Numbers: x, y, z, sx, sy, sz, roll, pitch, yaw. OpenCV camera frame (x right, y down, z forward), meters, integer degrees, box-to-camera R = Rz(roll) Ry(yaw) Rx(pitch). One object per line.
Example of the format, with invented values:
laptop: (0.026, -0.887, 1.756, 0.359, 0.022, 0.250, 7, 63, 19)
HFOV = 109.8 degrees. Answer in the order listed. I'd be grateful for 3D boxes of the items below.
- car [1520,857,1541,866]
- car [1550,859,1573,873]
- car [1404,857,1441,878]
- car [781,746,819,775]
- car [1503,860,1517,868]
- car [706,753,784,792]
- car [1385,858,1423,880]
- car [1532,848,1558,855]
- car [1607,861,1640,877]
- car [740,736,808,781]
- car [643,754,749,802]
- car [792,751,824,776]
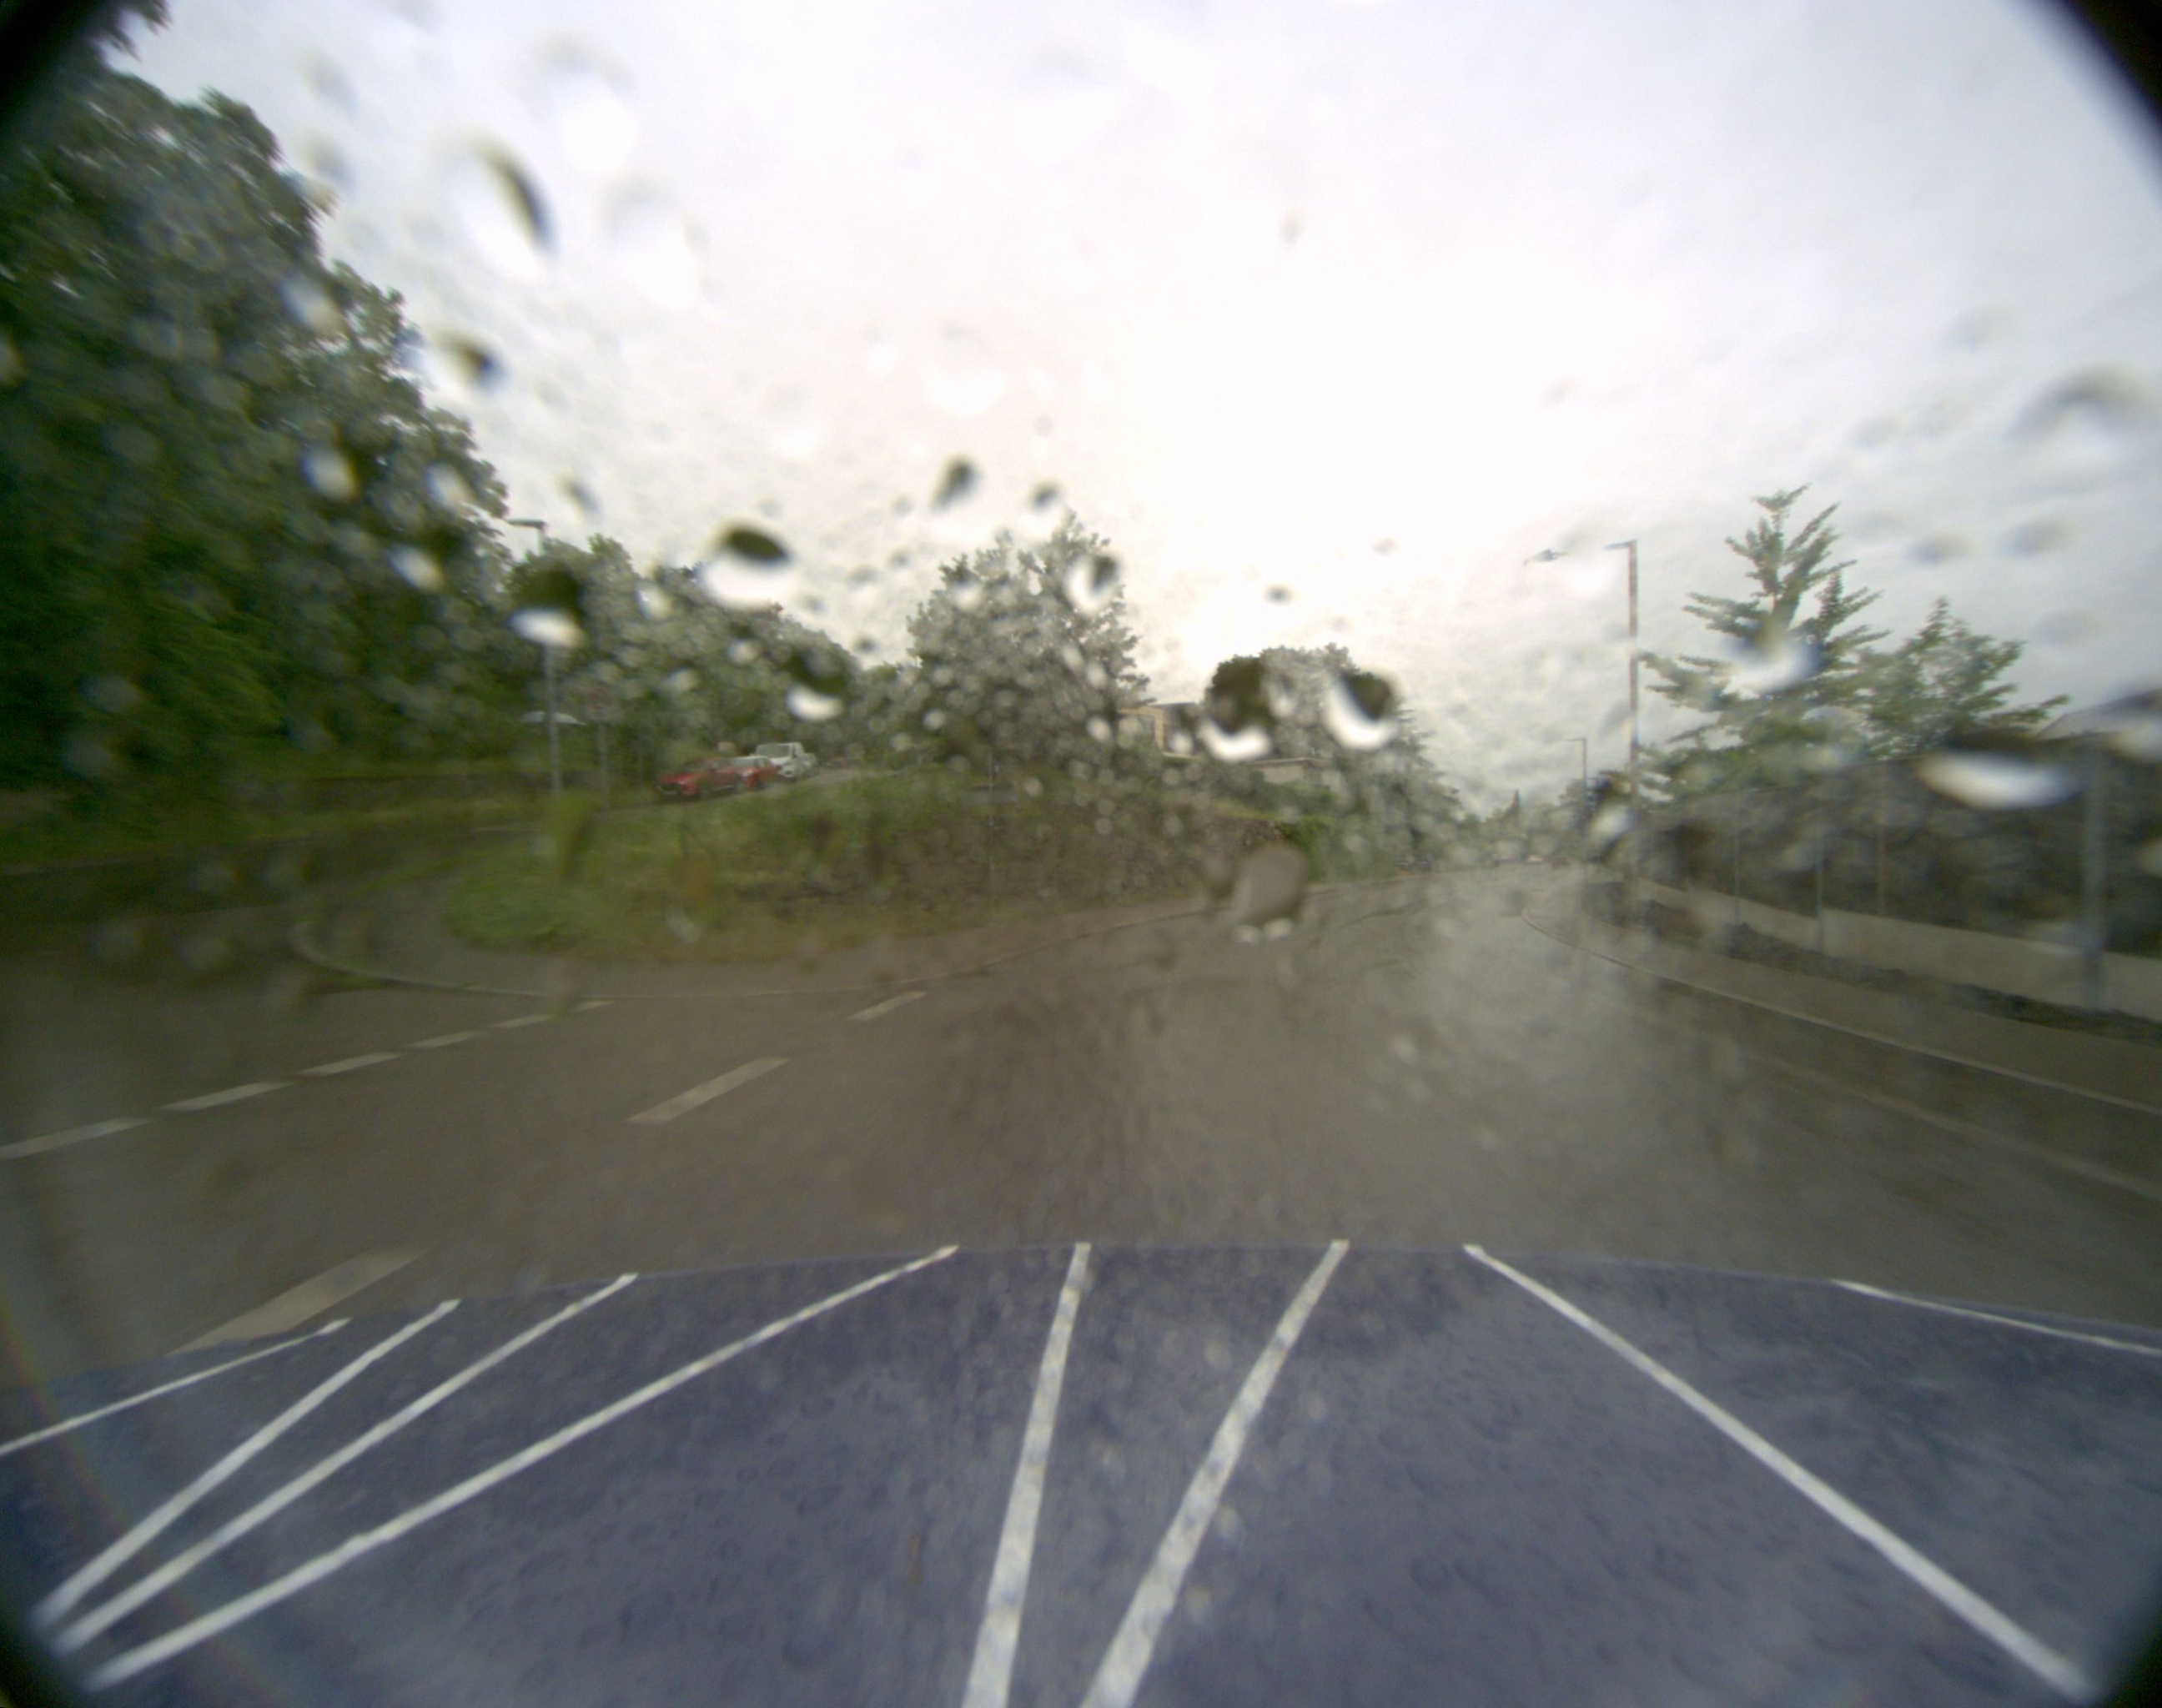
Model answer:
car: (73.802, 1.211, 124.791, 1.849, 1.451, 4.273, -2, 0, 16)
car: (51.946, 1.277, 82.168, 1.882, 1.441, 4.217, 0, 0, 35)
car: (29.195, 1.118, 64.905, 1.994, 1.661, 4.553, 3, 2, 35)
car: (-16.354, -5.523, 44.427, 1.877, 1.399, 3.987, -3, 11, -18)
car: (81.800, 1.892, 144.966, 1.852, 1.461, 3.707, -2, 0, 36)
car: (-14.677, -3.649, 33.445, 1.876, 1.399, 3.991, -1, 11, -4)
car: (25.486, 1.125, 59.971, 1.810, 1.555, 4.018, 3, 2, 37)
car: (89.978, -0.492, 147.258, 3.991, 1.264, 1.876, -2, 0, 20)
car: (55.567, 1.503, 77.768, 4.397, 1.544, 1.706, -1, 0, -40)
car: (-15.558, -4.955, 38.879, 2.273, 1.938, 5.436, -2, 11, -12)
car: (-14.632, -2.966, 29.146, 1.875, 1.504, 3.992, 0, 11, 1)
car: (-18.204, -6.074, 50.831, 1.877, 1.399, 3.987, -3, 11, -18)
